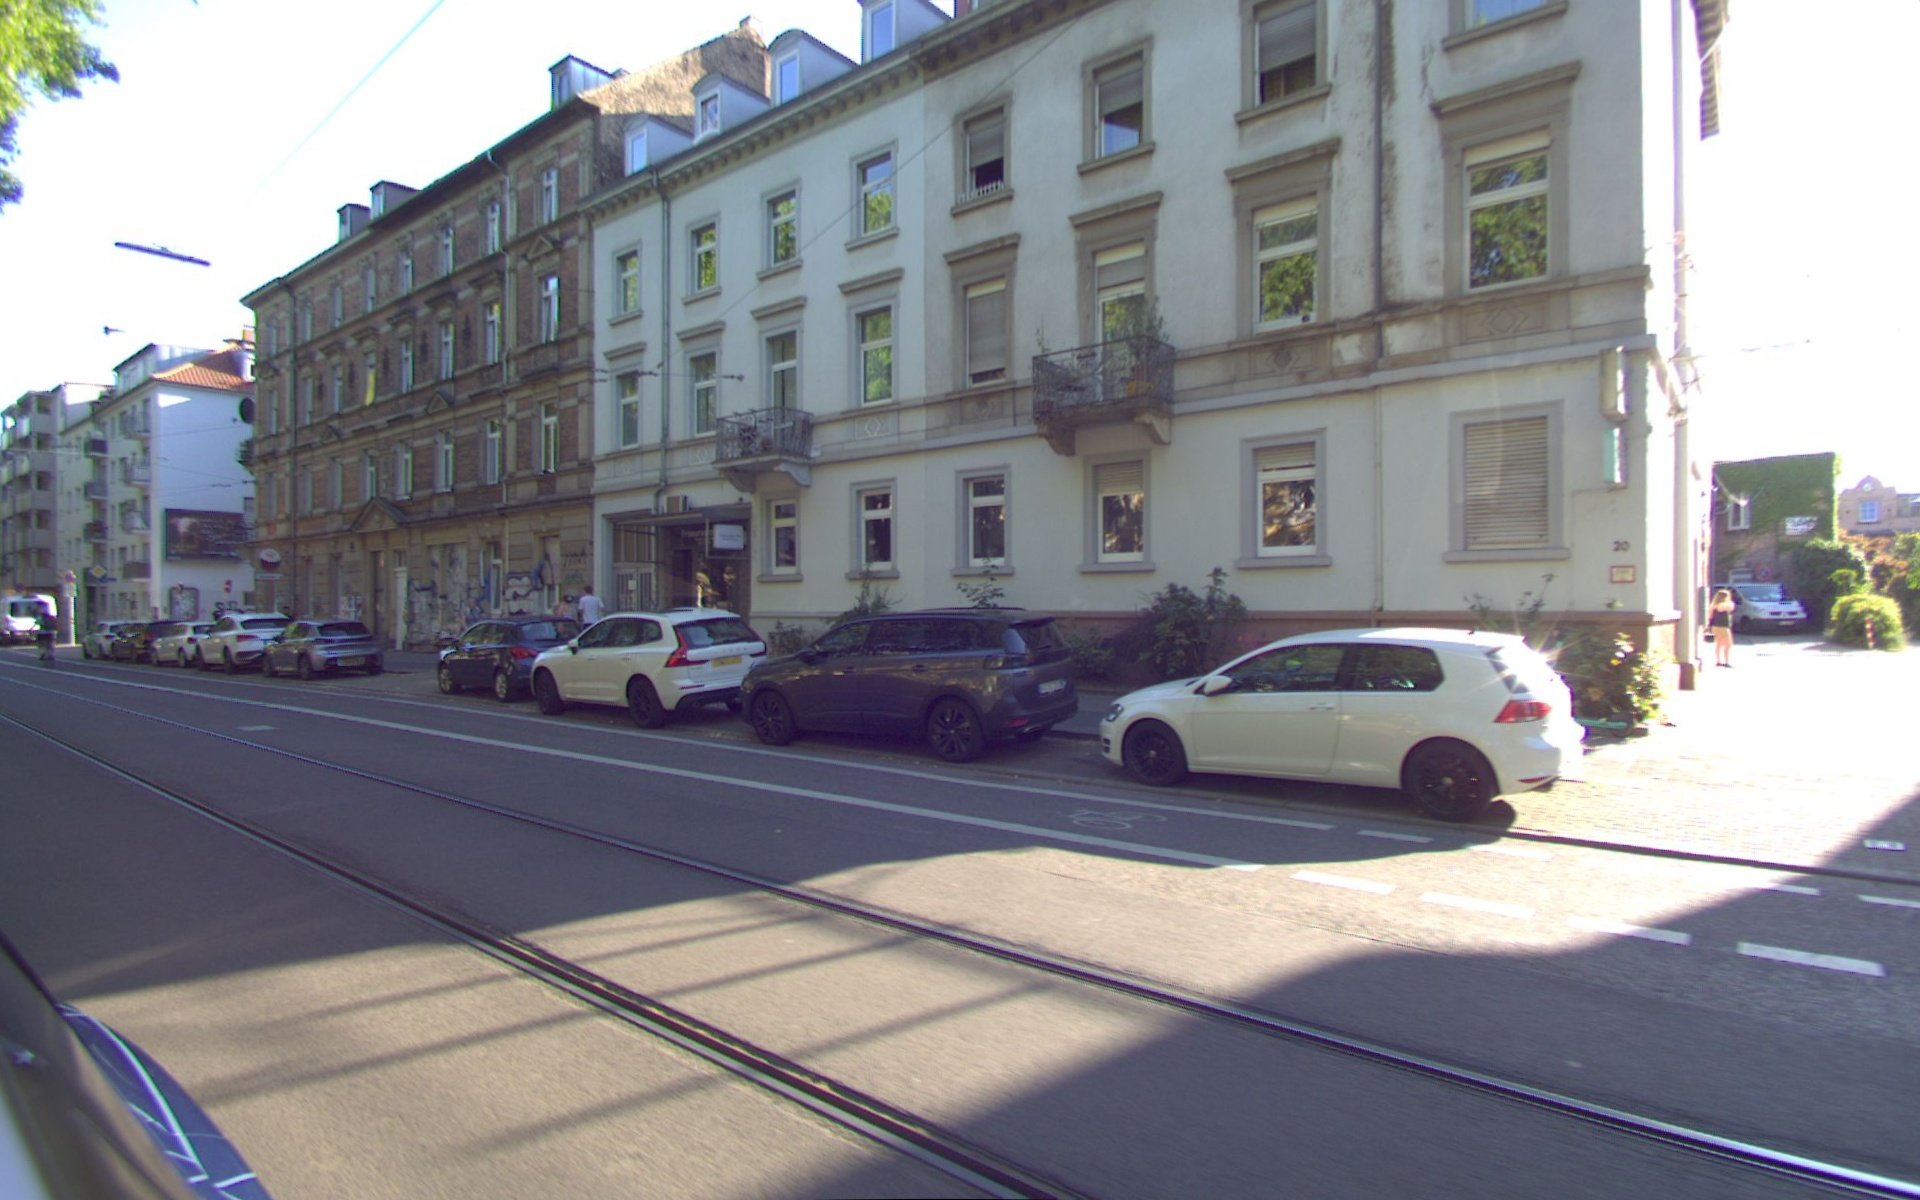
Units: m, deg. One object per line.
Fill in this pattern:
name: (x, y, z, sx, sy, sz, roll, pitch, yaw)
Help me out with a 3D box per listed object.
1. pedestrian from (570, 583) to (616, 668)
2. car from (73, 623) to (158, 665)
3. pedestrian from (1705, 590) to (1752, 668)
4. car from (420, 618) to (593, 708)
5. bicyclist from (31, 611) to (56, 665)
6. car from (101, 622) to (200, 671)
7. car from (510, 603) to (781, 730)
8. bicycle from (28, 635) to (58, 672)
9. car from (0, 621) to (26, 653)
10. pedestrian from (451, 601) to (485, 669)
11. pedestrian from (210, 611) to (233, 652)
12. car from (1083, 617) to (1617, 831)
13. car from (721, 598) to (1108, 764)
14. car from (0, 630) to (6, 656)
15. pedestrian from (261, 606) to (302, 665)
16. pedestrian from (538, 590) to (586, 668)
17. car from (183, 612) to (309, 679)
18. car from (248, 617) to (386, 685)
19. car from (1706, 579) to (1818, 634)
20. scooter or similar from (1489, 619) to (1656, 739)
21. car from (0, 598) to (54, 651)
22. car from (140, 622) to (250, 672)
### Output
pedestrian: (-9.057, 0.621, 24.969, 0.829, 2.029, 0.752, -1, -1, 38)
car: (-32.668, 1.659, 39.108, 4.040, 1.503, 1.724, -1, 1, 39)
pedestrian: (16.552, 0.629, 21.803, 0.496, 1.652, 0.597, -1, -1, -2)
car: (-8.626, 1.107, 19.109, 3.923, 1.527, 1.537, -1, -1, 42)
bicyclist: (-28.647, 1.185, 31.636, 0.799, 1.648, 0.468, -1, -1, 40)
car: (-28.628, 1.586, 35.743, 4.780, 1.574, 1.724, -1, 0, 39)
car: (-5.047, 0.942, 15.886, 4.759, 1.716, 1.837, -1, -1, 41)
bicycle: (-28.684, 1.665, 31.658, 1.845, 1.094, 0.476, -1, -1, 41)
car: (-52.695, 2.009, 55.368, 4.341, 1.644, 1.702, -1, -1, 38)
pedestrian: (-12.578, 0.882, 25.889, 0.653, 1.678, 0.771, -1, 0, -19)
pedestrian: (-32.426, 1.368, 44.433, 0.893, 1.762, 0.649, -3, -1, 43)
car: (3.394, 0.935, 9.296, 4.254, 1.488, 1.670, -1, 0, 40)
car: (-0.672, 0.880, 12.543, 4.648, 1.716, 1.841, -1, -1, 35)
car: (-57.056, 2.484, 58.979, 4.570, 1.467, 1.700, -1, -1, 41)
pedestrian: (-21.527, 1.110, 32.102, 1.053, 1.814, 0.679, -1, 0, 31)
pedestrian: (-9.564, 0.693, 24.317, 0.828, 1.835, 0.752, -1, -1, 37)
car: (-20.551, 1.248, 29.058, 4.714, 1.736, 1.769, -1, 0, 40)
car: (-16.307, 1.225, 25.600, 4.058, 1.532, 1.647, -1, 0, 38)
car: (31.028, 0.236, 39.292, 1.787, 2.007, 3.823, -1, 0, 11)
scooter or similar: (7.028, 0.866, 11.670, 0.441, 1.290, 1.577, 0, -1, -42)
car: (-48.509, 1.232, 52.135, 5.664, 2.555, 2.043, -1, -1, 41)
car: (-24.491, 1.455, 32.352, 3.991, 1.431, 1.684, -1, 0, 36)
